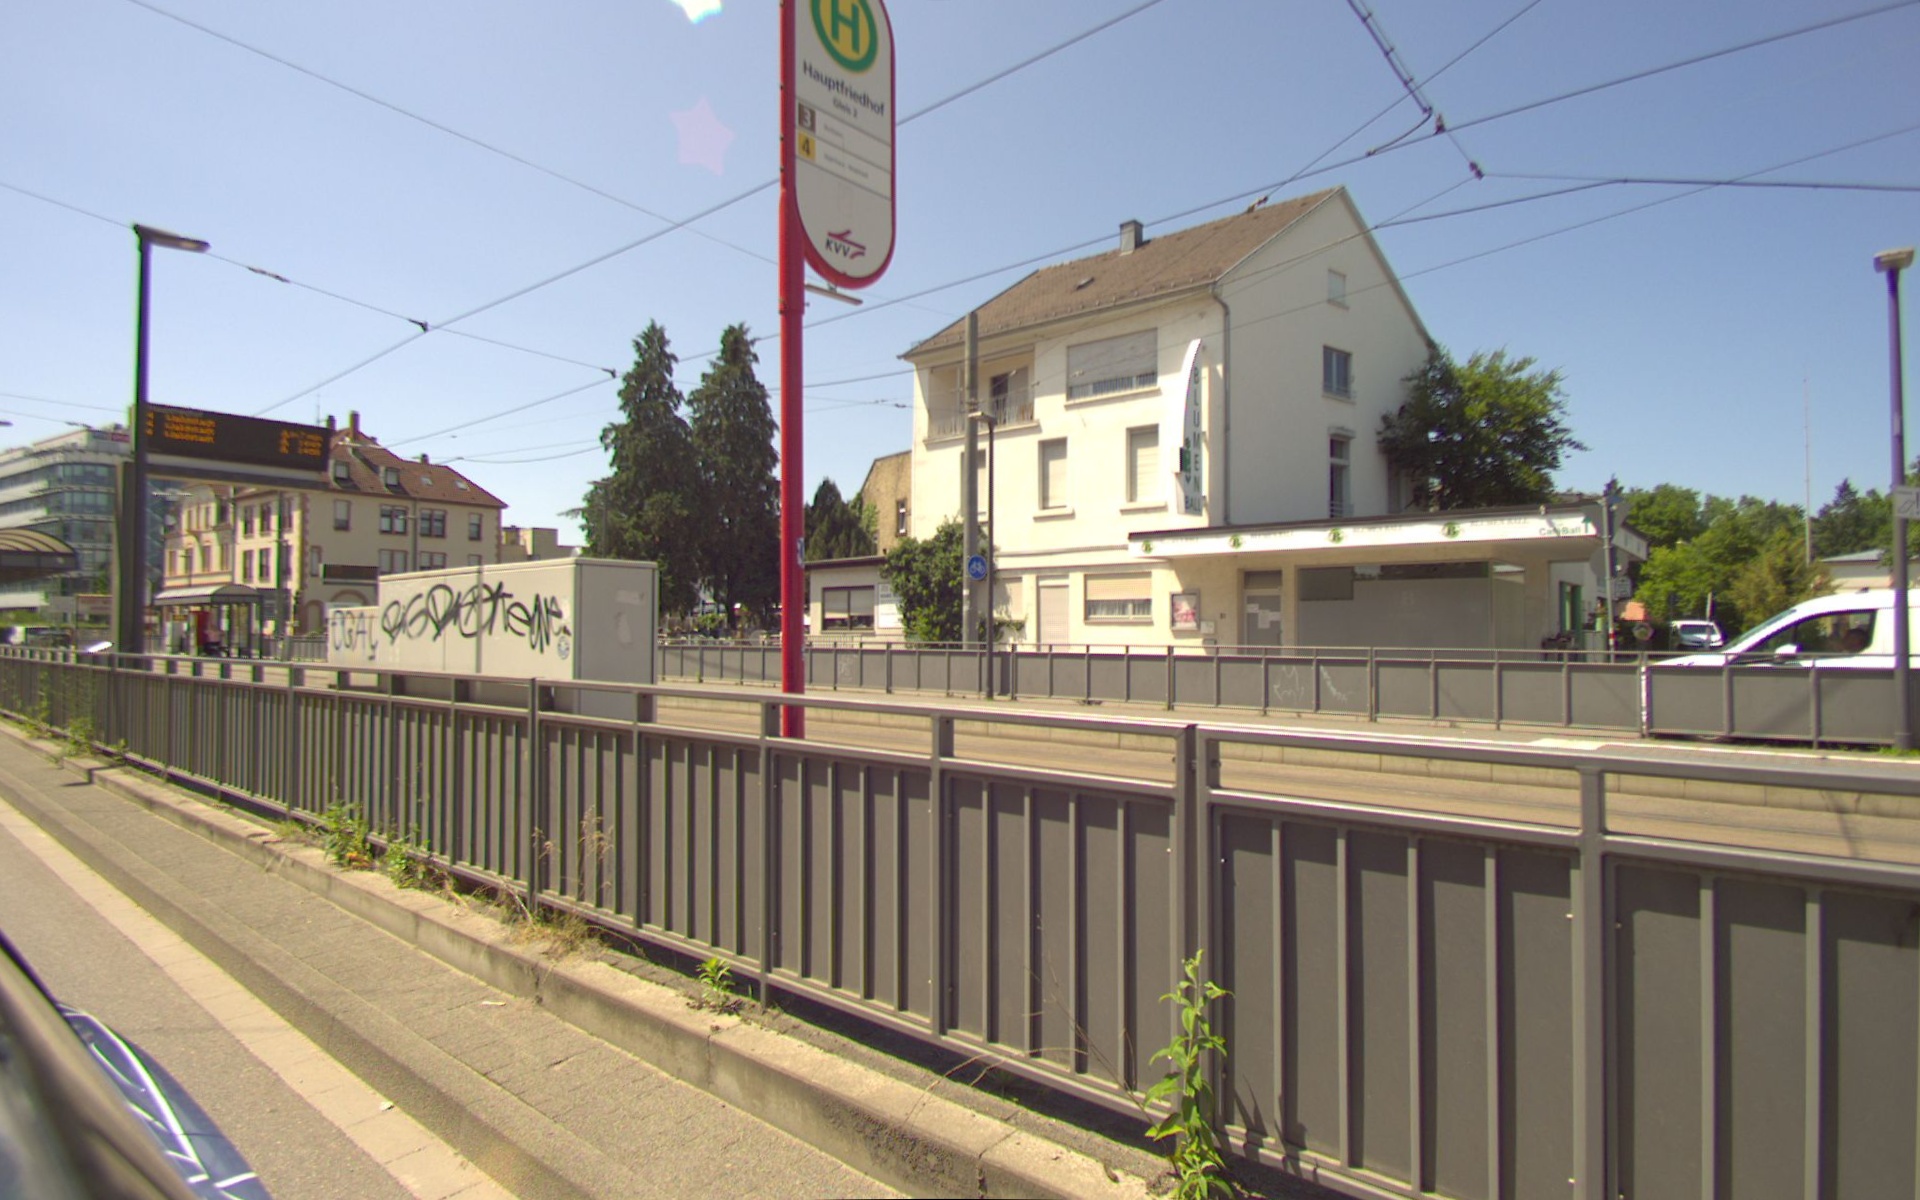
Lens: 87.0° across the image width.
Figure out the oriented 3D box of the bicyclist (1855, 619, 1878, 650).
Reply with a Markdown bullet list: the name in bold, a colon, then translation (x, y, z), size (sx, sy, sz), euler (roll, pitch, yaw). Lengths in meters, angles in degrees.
- **bicyclist**: translation (43.344, 1.652, 48.403), size (0.619, 1.446, 0.525), euler (-1, -2, 23)

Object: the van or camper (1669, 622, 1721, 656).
- **van or camper**: translation (34.759, 1.831, 47.937), size (1.686, 1.578, 3.784), euler (-1, -2, 32)

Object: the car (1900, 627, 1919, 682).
- **car**: translation (25.787, 1.425, 26.474), size (1.644, 1.381, 3.760), euler (-2, -3, 42)

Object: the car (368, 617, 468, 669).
- **car**: translation (-20.627, 1.622, 38.486), size (3.996, 1.852, 1.974), euler (-2, -2, 39)

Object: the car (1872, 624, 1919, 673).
- **car**: translation (29.556, 1.520, 31.480), size (1.644, 1.457, 3.761), euler (-2, -3, 41)

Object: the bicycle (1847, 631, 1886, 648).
- **bicycle**: translation (43.367, 1.888, 48.447), size (0.614, 0.793, 2.178), euler (-1, -2, 21)

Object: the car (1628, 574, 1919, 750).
- **car**: translation (10.447, 0.687, 11.349), size (4.698, 1.831, 1.835), euler (-2, -4, 43)
